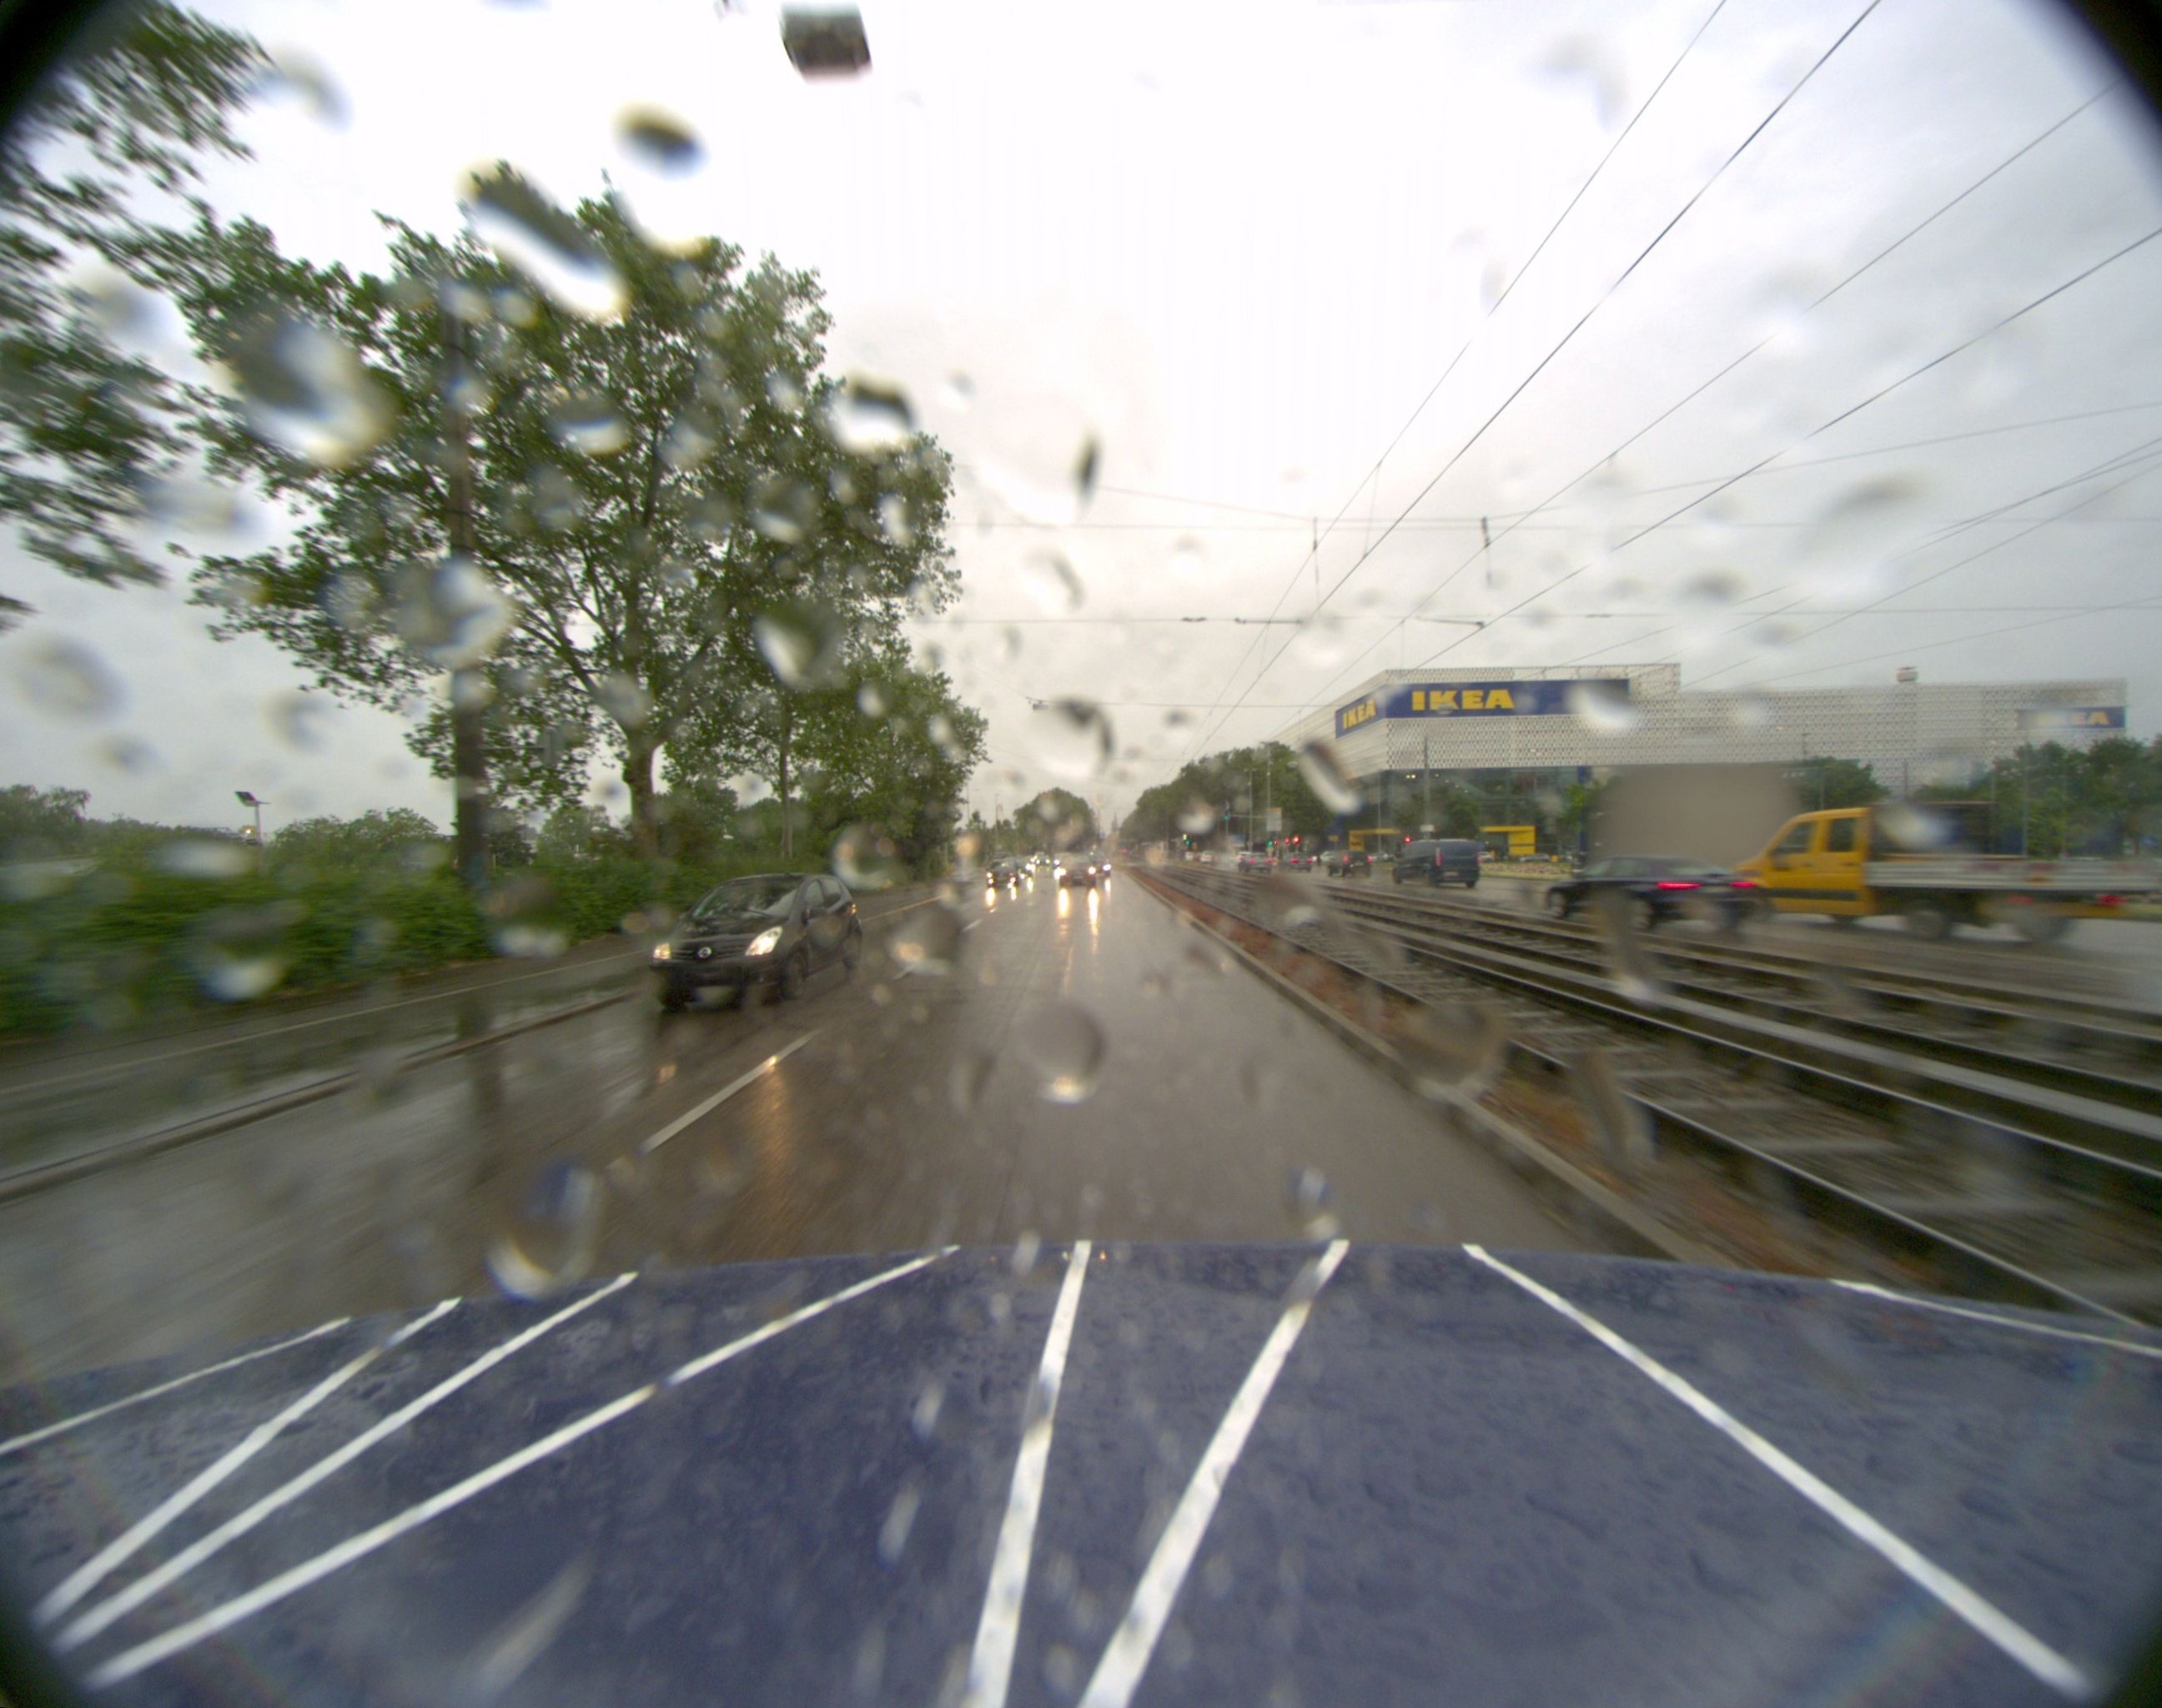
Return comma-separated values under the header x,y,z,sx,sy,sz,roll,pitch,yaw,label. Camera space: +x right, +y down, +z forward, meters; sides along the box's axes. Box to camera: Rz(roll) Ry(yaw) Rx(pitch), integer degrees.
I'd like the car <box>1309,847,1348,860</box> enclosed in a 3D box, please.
x,y,z,sx,sy,sz,roll,pitch,yaw,label
32.806,-0.070,100.812,4.459,1.532,1.820,-3,0,3,car

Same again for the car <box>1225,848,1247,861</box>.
x,y,z,sx,sy,sz,roll,pitch,yaw,label
20.503,0.081,100.894,1.912,1.597,4.842,-4,0,1,car

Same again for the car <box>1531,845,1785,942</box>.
x,y,z,sx,sy,sz,roll,pitch,yaw,label
11.399,0.665,15.503,1.823,1.613,4.536,-2,1,1,car

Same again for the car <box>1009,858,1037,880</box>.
x,y,z,sx,sy,sz,roll,pitch,yaw,label
-4.383,1.115,58.196,1.715,1.515,4.043,-3,0,1,car

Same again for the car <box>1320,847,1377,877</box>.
x,y,z,sx,sy,sz,roll,pitch,yaw,label
15.850,0.403,45.245,1.862,1.608,4.908,1,1,3,car

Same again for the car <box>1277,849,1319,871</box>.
x,y,z,sx,sy,sz,roll,pitch,yaw,label
16.550,0.434,58.223,1.968,1.508,4.554,0,1,2,car

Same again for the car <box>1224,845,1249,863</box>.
x,y,z,sx,sy,sz,roll,pitch,yaw,label
17.269,-0.019,84.547,1.998,1.823,4.693,-1,1,3,car

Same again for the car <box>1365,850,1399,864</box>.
x,y,z,sx,sy,sz,roll,pitch,yaw,label
41.004,0.371,103.569,4.014,1.609,1.760,-3,1,3,car

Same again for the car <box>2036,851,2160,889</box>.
x,y,z,sx,sy,sz,roll,pitch,yaw,label
60.632,0.916,45.416,1.999,2.002,3.999,-4,1,-1,car

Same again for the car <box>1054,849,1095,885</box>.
x,y,z,sx,sy,sz,roll,pitch,yaw,label
-0.310,0.631,37.886,1.876,1.573,4.043,-3,0,0,car

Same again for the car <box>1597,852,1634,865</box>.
x,y,z,sx,sy,sz,roll,pitch,yaw,label
71.610,0.589,101.850,3.821,1.399,1.602,-3,1,4,car

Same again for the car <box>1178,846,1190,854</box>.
x,y,z,sx,sy,sz,roll,pitch,yaw,label
18.534,-0.765,137.298,1.716,1.242,4.462,-3,0,2,car

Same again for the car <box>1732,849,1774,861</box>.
x,y,z,sx,sy,sz,roll,pitch,yaw,label
89.644,0.078,101.399,3.982,1.399,1.602,-3,1,4,car

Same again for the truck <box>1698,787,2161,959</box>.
x,y,z,sx,sy,sz,roll,pitch,yaw,label
14.868,0.234,13.955,2.232,2.447,6.066,1,1,2,truck

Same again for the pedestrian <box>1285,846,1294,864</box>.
x,y,z,sx,sy,sz,roll,pitch,yaw,label
27.019,0.094,98.372,0.920,2.232,0.990,-3,3,15,pedestrian

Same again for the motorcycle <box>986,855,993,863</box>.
x,y,z,sx,sy,sz,roll,pitch,yaw,label
-13.894,0.694,115.351,0.633,1.211,1.449,0,0,13,motorcycle

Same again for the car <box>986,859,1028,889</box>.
x,y,z,sx,sy,sz,roll,pitch,yaw,label
-3.999,1.032,41.552,1.715,1.476,4.043,-3,0,1,car

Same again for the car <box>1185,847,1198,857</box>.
x,y,z,sx,sy,sz,roll,pitch,yaw,label
18.051,-0.268,124.387,1.716,1.526,4.048,-3,0,3,car

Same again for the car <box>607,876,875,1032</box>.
x,y,z,sx,sy,sz,roll,pitch,yaw,label
-4.094,1.095,9.967,1.776,1.453,4.091,-3,0,-3,car

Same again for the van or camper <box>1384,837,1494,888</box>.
x,y,z,sx,sy,sz,roll,pitch,yaw,label
15.392,0.289,33.113,2.310,2.002,5.686,-1,1,3,van or camper

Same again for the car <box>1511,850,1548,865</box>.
x,y,z,sx,sy,sz,roll,pitch,yaw,label
60.681,0.469,102.871,4.010,1.664,1.682,-3,1,4,car

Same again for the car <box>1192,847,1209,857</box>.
x,y,z,sx,sy,sz,roll,pitch,yaw,label
17.191,-0.283,109.621,1.927,1.415,5.084,2,0,3,car

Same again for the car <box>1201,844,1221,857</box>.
x,y,z,sx,sy,sz,roll,pitch,yaw,label
16.402,-0.395,96.080,1.877,1.564,4.329,-3,0,3,car

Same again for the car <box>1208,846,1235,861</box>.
x,y,z,sx,sy,sz,roll,pitch,yaw,label
14.259,-0.063,77.544,1.998,1.448,4.671,1,1,2,car

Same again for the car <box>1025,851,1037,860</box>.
x,y,z,sx,sy,sz,roll,pitch,yaw,label
-8.642,0.264,131.382,1.715,1.515,4.178,-3,0,1,car

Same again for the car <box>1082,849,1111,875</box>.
x,y,z,sx,sy,sz,roll,pitch,yaw,label
1.001,0.503,48.677,1.715,1.515,4.043,-3,0,1,car

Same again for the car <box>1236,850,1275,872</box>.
x,y,z,sx,sy,sz,roll,pitch,yaw,label
12.842,0.453,56.181,1.862,1.486,4.689,0,1,1,car

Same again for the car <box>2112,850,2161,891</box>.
x,y,z,sx,sy,sz,roll,pitch,yaw,label
57.422,0.868,39.560,1.999,2.002,3.999,-4,1,-1,car
